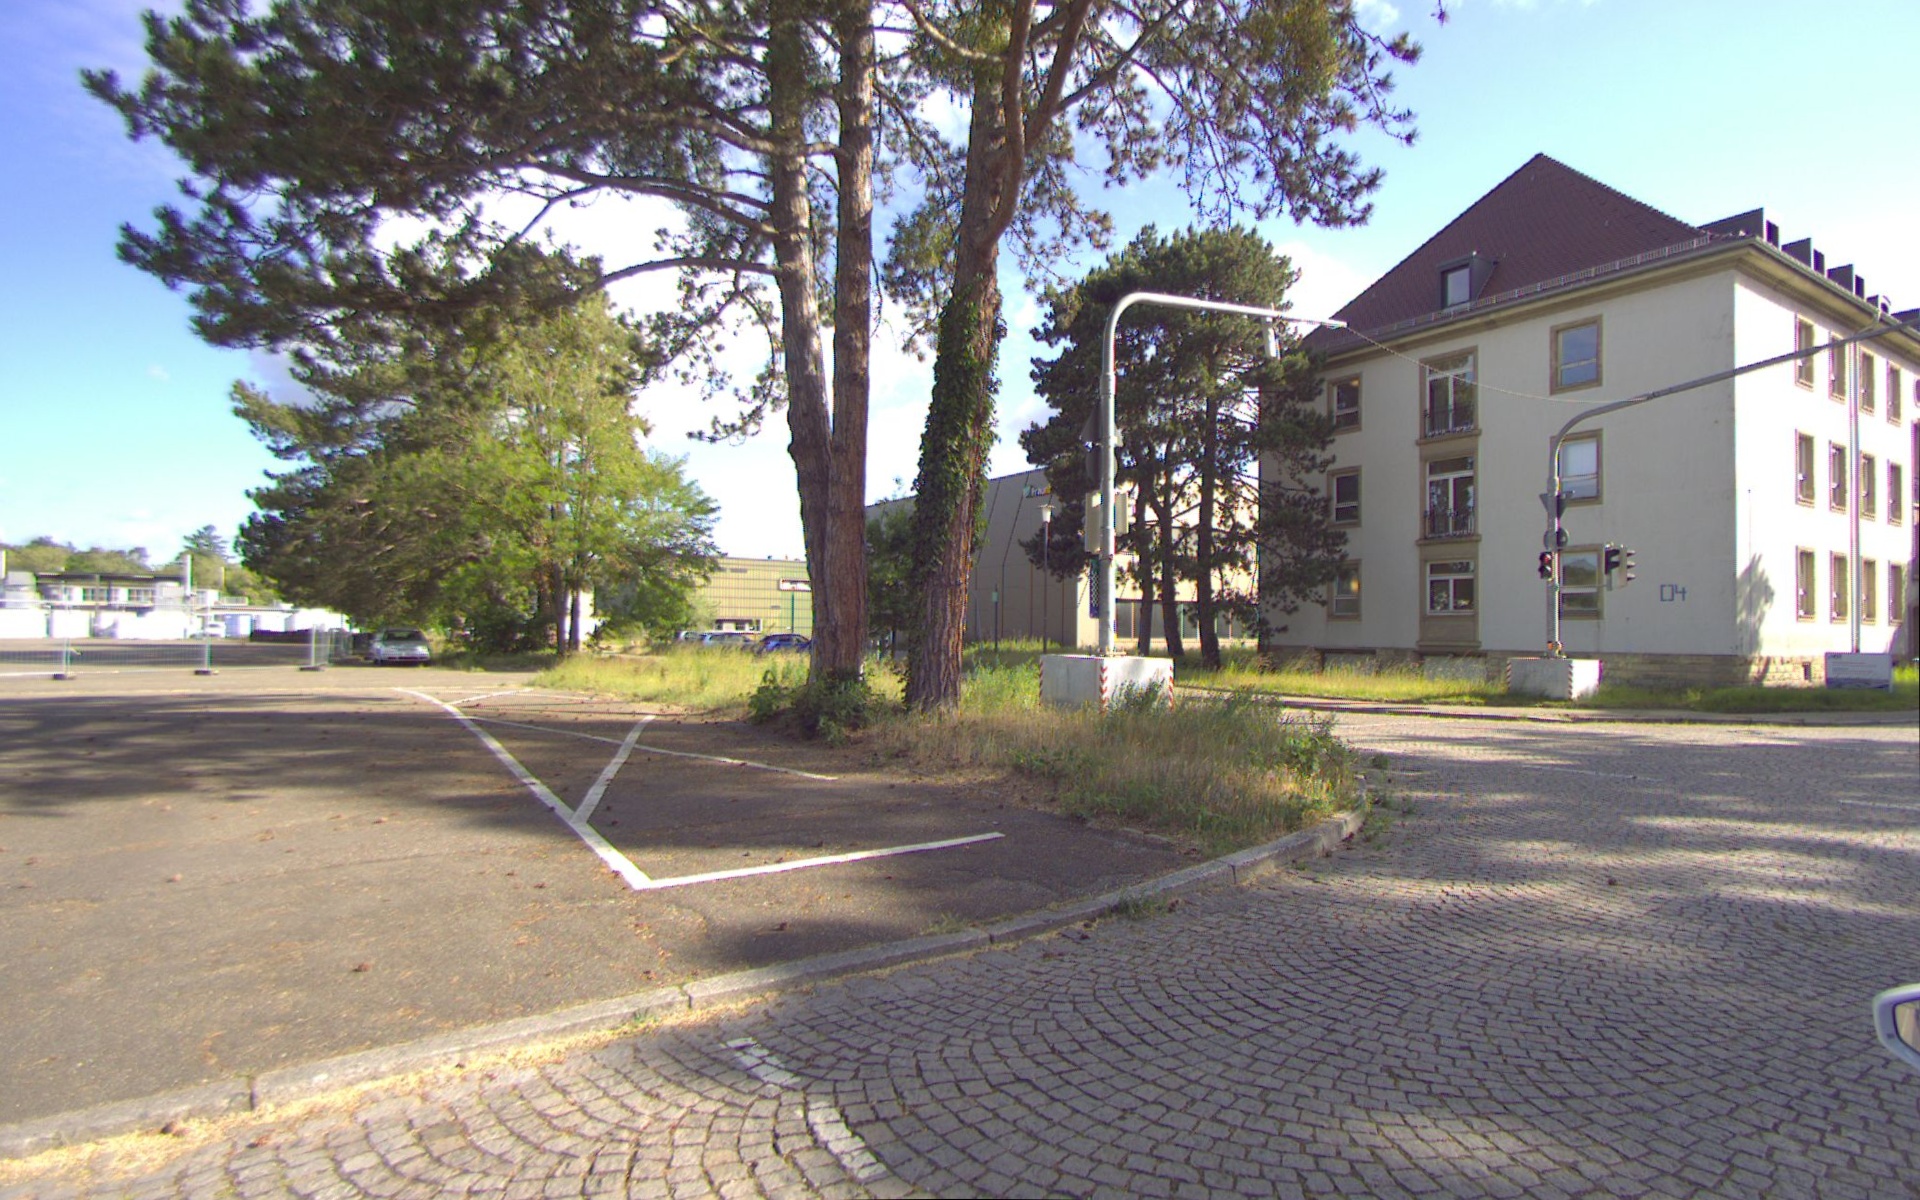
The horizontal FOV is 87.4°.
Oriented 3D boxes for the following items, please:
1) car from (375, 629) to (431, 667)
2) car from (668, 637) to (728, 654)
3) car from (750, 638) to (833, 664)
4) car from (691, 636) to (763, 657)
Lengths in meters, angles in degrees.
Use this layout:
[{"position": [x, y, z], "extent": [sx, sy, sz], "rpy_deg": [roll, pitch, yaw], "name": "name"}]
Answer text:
[{"position": [-21.135, 1.788, 38.076], "extent": [1.727, 1.388, 3.592], "rpy_deg": [2, -2, -31], "name": "car"}, {"position": [-17.407, 3.007, 66.822], "extent": [3.636, 1.090, 1.399], "rpy_deg": [2, -2, -30], "name": "car"}, {"position": [-8.828, 2.663, 52.694], "extent": [4.005, 1.311, 1.479], "rpy_deg": [2, -2, -31], "name": "car"}, {"position": [-13.991, 2.774, 60.432], "extent": [3.953, 1.221, 1.480], "rpy_deg": [2, -2, -30], "name": "car"}]
